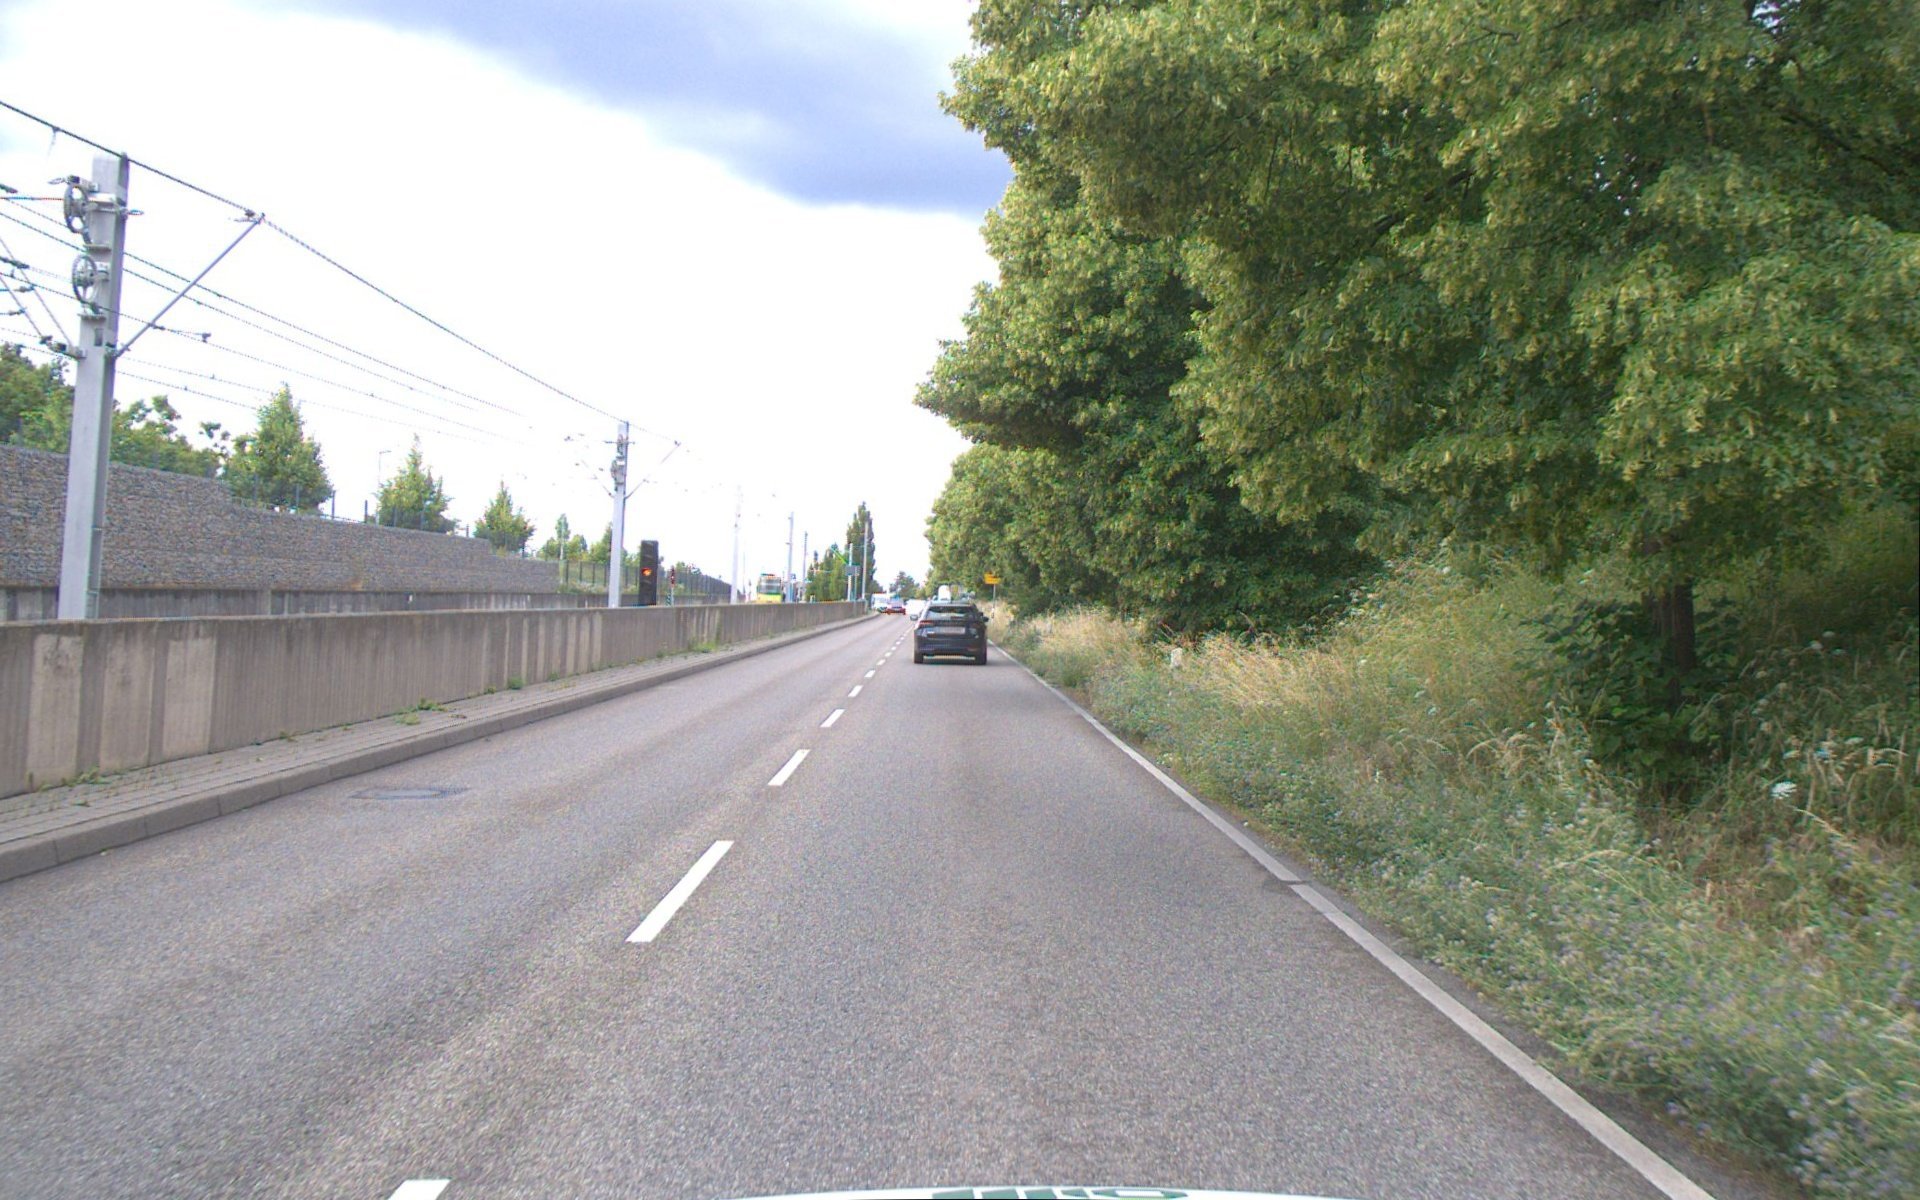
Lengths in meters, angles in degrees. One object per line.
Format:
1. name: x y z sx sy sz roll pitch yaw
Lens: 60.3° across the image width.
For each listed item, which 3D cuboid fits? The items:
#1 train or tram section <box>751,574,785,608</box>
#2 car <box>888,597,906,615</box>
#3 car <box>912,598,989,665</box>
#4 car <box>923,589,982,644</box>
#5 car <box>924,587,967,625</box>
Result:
1. train or tram section: -20.702 -0.869 177.610 2.759 3.172 18.874 1 -1 -9
2. car: -5.788 0.548 152.480 1.629 1.572 3.951 1 0 -1
3. car: -0.238 0.730 39.756 1.745 1.493 3.999 1 0 -1
4. car: -0.276 0.558 57.034 1.953 1.783 3.999 1 0 -1
5. car: -0.690 0.304 79.051 1.953 1.771 3.999 1 -1 -1
